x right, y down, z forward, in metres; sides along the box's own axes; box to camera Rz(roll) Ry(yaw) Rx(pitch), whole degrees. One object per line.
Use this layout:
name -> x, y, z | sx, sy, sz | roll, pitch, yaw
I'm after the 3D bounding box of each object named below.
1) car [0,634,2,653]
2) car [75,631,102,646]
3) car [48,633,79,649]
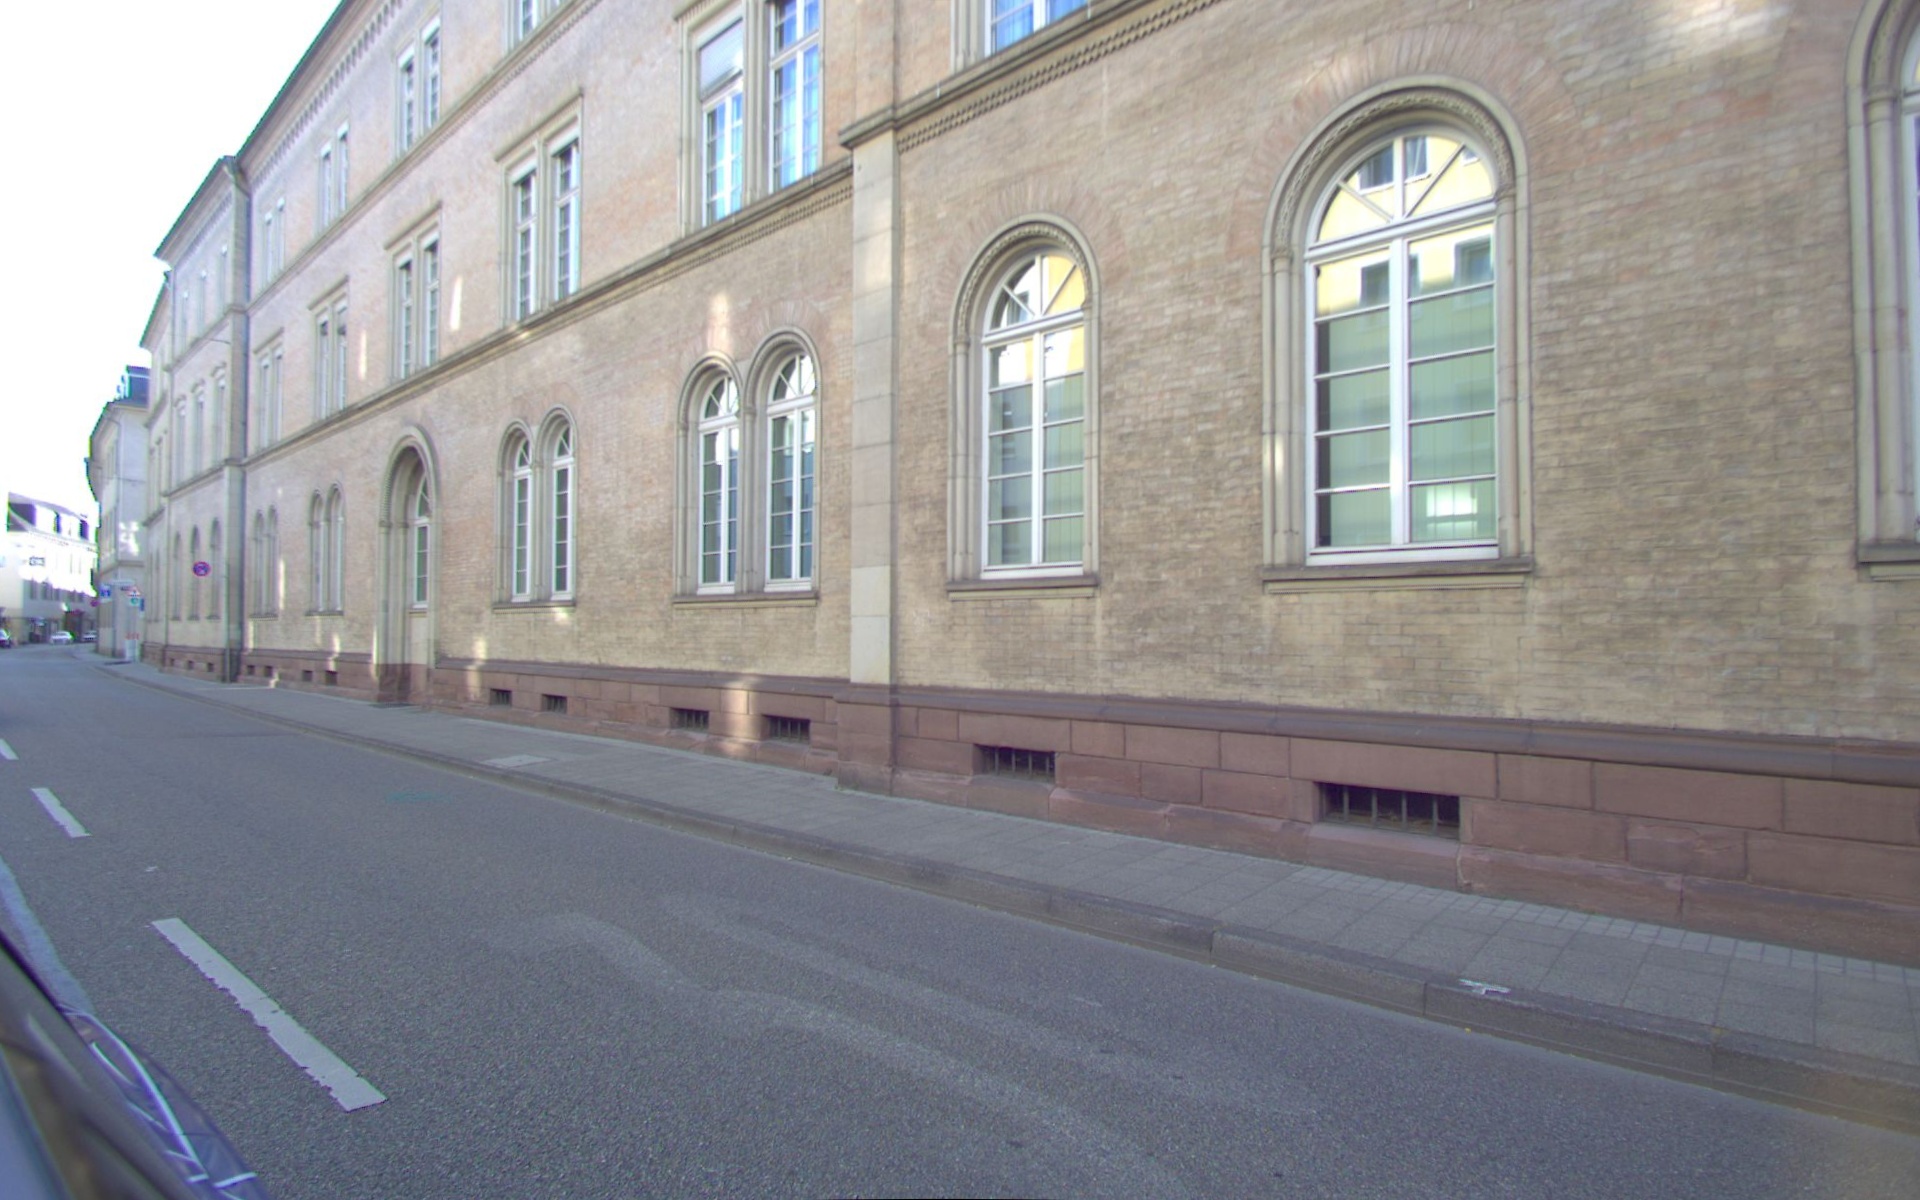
car -> -86.611, 3.929, 89.934 | 1.969, 1.665, 4.235 | -1, 0, -41
car -> -109.228, 4.814, 126.810 | 1.966, 1.665, 4.240 | -1, 0, -33
car -> -102.854, 4.731, 116.157 | 1.966, 1.665, 4.240 | -1, 0, -33
